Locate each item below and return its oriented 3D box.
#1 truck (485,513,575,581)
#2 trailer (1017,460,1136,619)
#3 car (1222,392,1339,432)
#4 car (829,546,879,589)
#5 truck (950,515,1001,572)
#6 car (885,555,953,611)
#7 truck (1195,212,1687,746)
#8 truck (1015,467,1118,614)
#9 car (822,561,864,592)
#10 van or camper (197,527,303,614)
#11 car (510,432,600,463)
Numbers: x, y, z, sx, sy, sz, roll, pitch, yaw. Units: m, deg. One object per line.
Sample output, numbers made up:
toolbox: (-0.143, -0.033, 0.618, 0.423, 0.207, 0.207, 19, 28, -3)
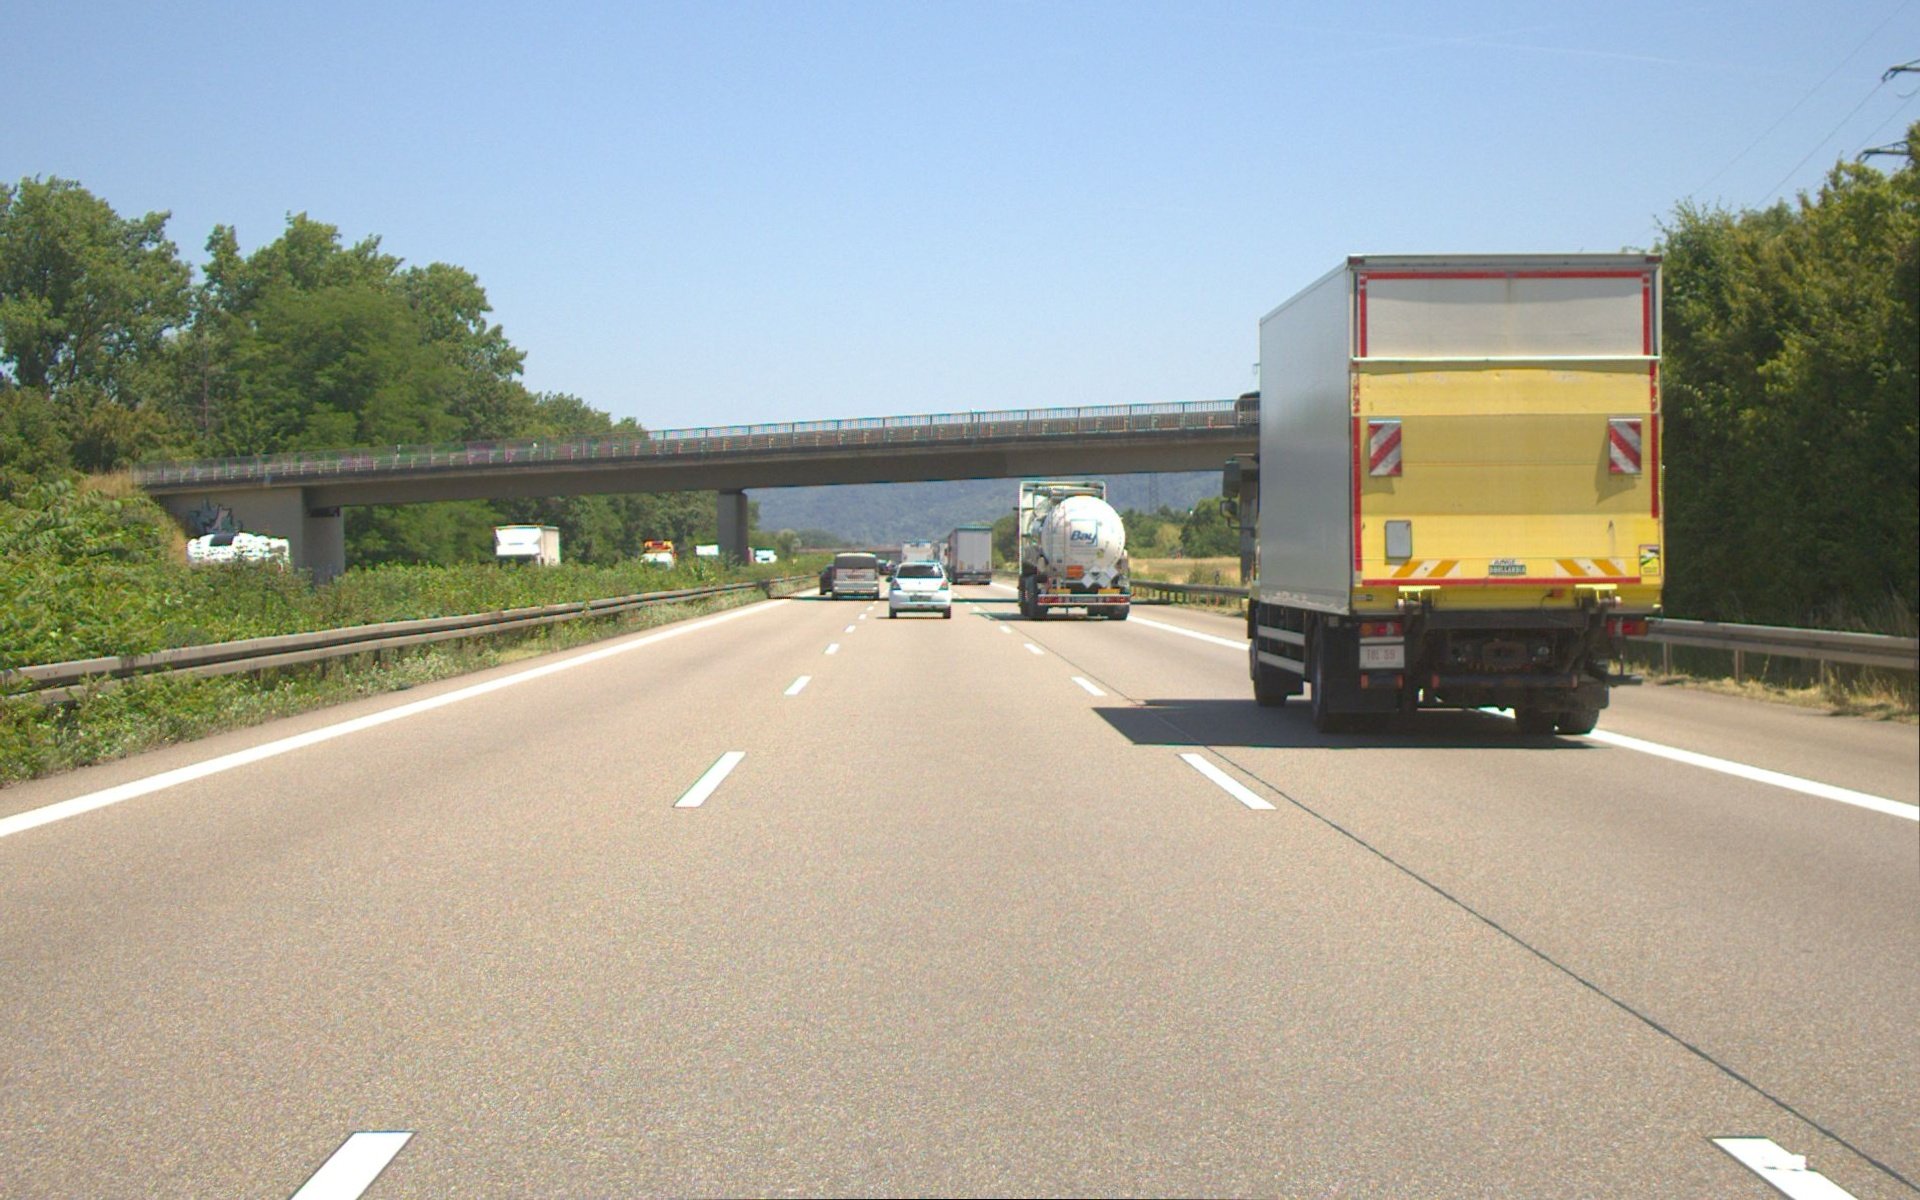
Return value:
truck: (-22.707, -2.793, 182.074, 2.877, 3.486, 10.734, 1, 1, 3)
trailer: (3.098, -1.632, 94.128, 2.580, 4.060, 11.104, 1, 1, -1)
car: (12.090, -7.093, 129.678, 3.996, 1.382, 1.837, 2, 1, 37)
car: (-4.208, -1.306, 137.065, 1.852, 1.627, 4.000, 1, 1, -1)
truck: (1.064, -3.994, 244.218, 3.265, 3.844, 11.632, 1, 1, -1)
car: (-1.116, -0.470, 93.802, 1.806, 1.463, 4.000, 1, 1, -1)
truck: (4.189, -1.035, 32.664, 2.933, 4.185, 10.682, 1, 1, -1)
truck: (3.017, -1.699, 98.788, 2.573, 4.058, 6.393, 1, 1, -1)
car: (-5.448, -1.091, 160.819, 1.835, 1.382, 4.000, 1, 1, -1)
van or camper: (-21.564, -0.926, 104.647, 1.993, 2.536, 6.299, 1, 1, -1)
car: (-19.189, -7.196, 162.723, 3.995, 1.382, 1.838, 2, 1, 34)
